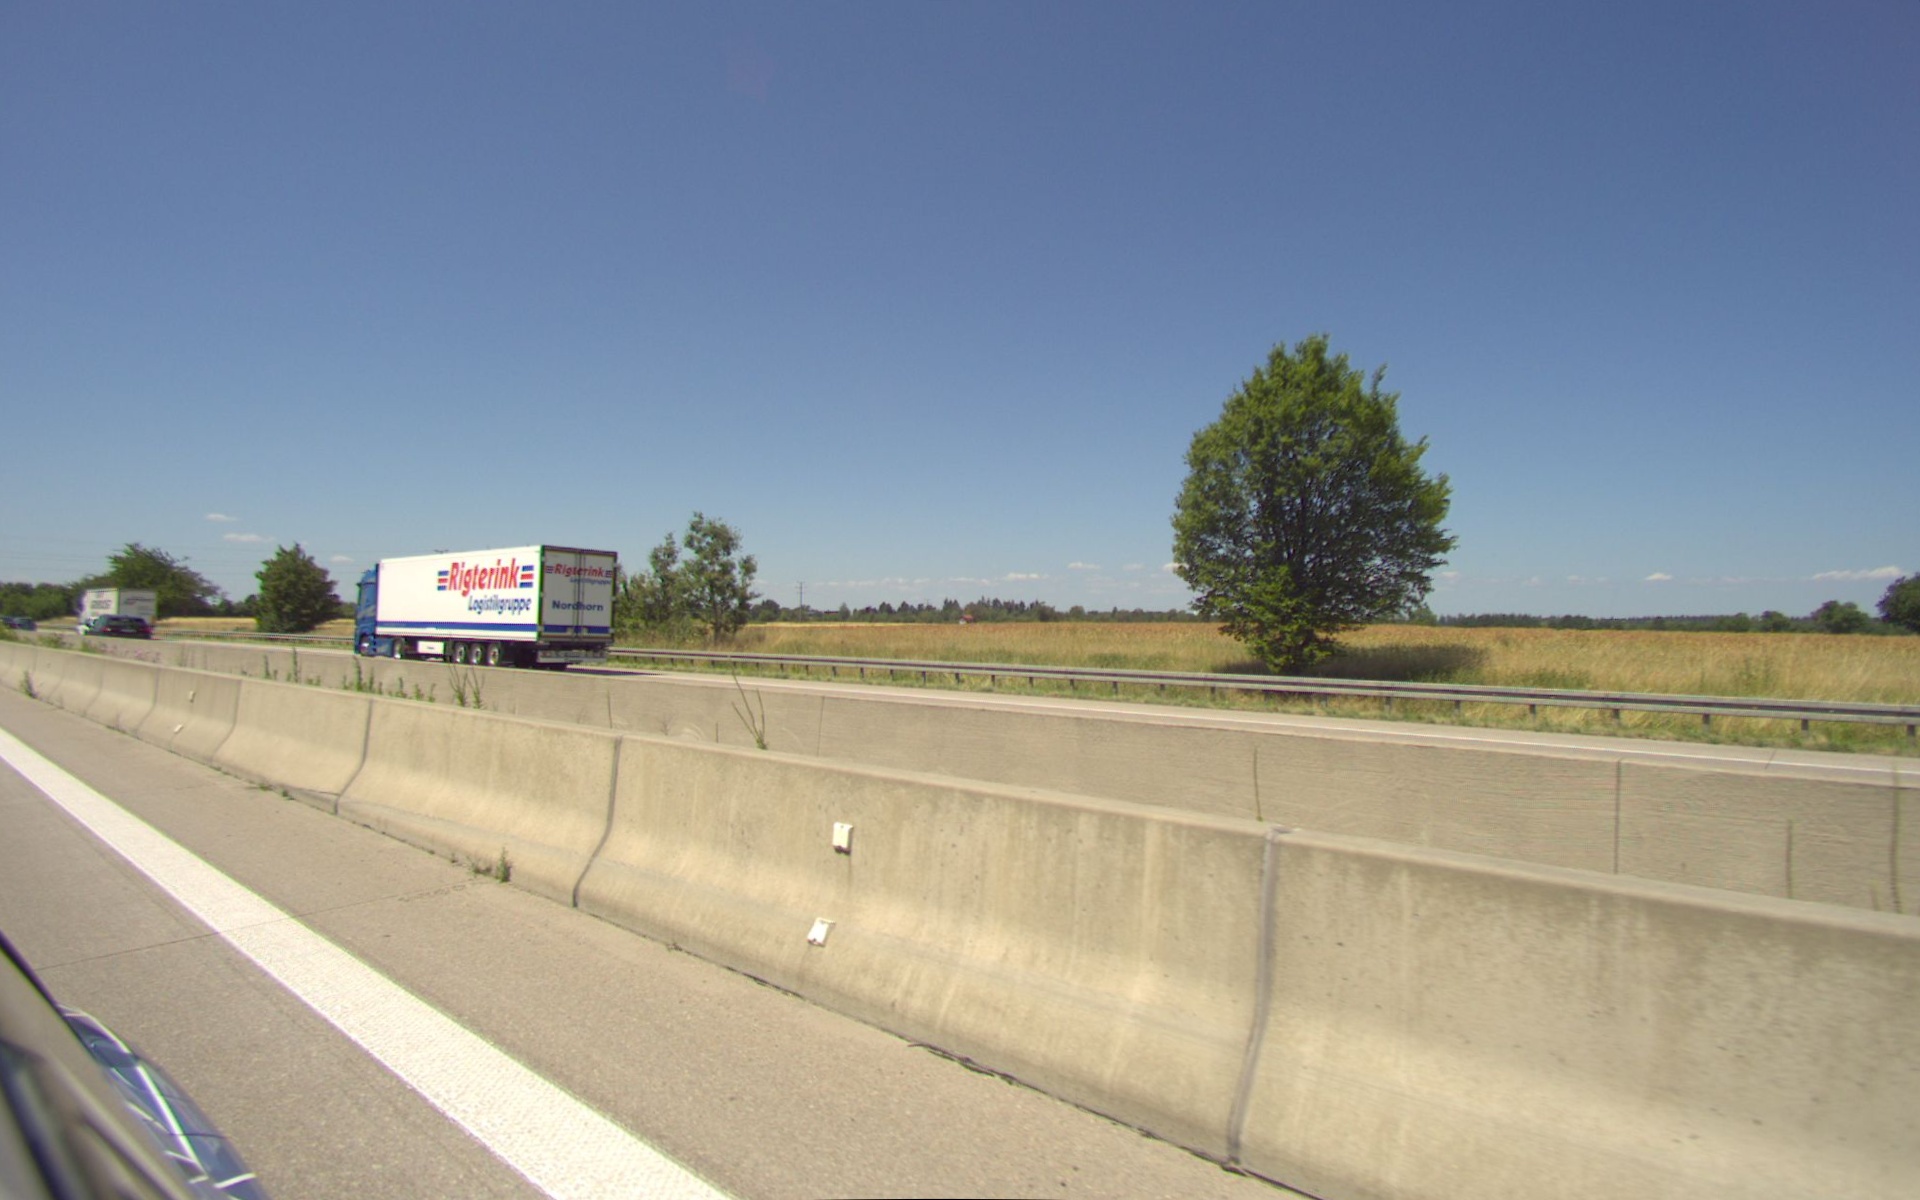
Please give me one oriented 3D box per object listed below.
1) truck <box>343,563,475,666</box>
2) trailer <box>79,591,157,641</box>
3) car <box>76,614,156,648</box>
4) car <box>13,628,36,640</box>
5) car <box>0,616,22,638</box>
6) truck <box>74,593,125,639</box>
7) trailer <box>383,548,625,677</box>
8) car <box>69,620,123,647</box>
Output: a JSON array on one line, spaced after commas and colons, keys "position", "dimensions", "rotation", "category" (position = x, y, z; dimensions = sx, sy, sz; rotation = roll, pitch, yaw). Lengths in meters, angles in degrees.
[{"position": [-22.404, 0.567, 41.067], "dimensions": [5.682, 3.893, 2.867], "rotation": [-1, 0, 41], "category": "truck"}, {"position": [-69.596, 1.320, 83.501], "dimensions": [13.821, 3.831, 2.741], "rotation": [-1, 0, 41], "category": "trailer"}, {"position": [-36.523, 1.304, 43.753], "dimensions": [5.066, 1.336, 1.879], "rotation": [-1, 0, 41], "category": "car"}, {"position": [-88.436, 3.179, 95.704], "dimensions": [2.897, 1.070, 1.290], "rotation": [-1, 0, 41], "category": "car"}, {"position": [-68.973, 1.923, 72.843], "dimensions": [4.115, 1.495, 1.709], "rotation": [-1, 0, 41], "category": "car"}, {"position": [-75.030, 1.415, 88.215], "dimensions": [4.449, 3.869, 2.742], "rotation": [-1, 0, 41], "category": "truck"}, {"position": [-16.601, 0.456, 36.031], "dimensions": [12.504, 3.938, 2.878], "rotation": [-1, 0, 41], "category": "trailer"}, {"position": [-57.356, 2.219, 67.175], "dimensions": [4.367, 1.596, 1.973], "rotation": [-1, -6, 41], "category": "car"}]
